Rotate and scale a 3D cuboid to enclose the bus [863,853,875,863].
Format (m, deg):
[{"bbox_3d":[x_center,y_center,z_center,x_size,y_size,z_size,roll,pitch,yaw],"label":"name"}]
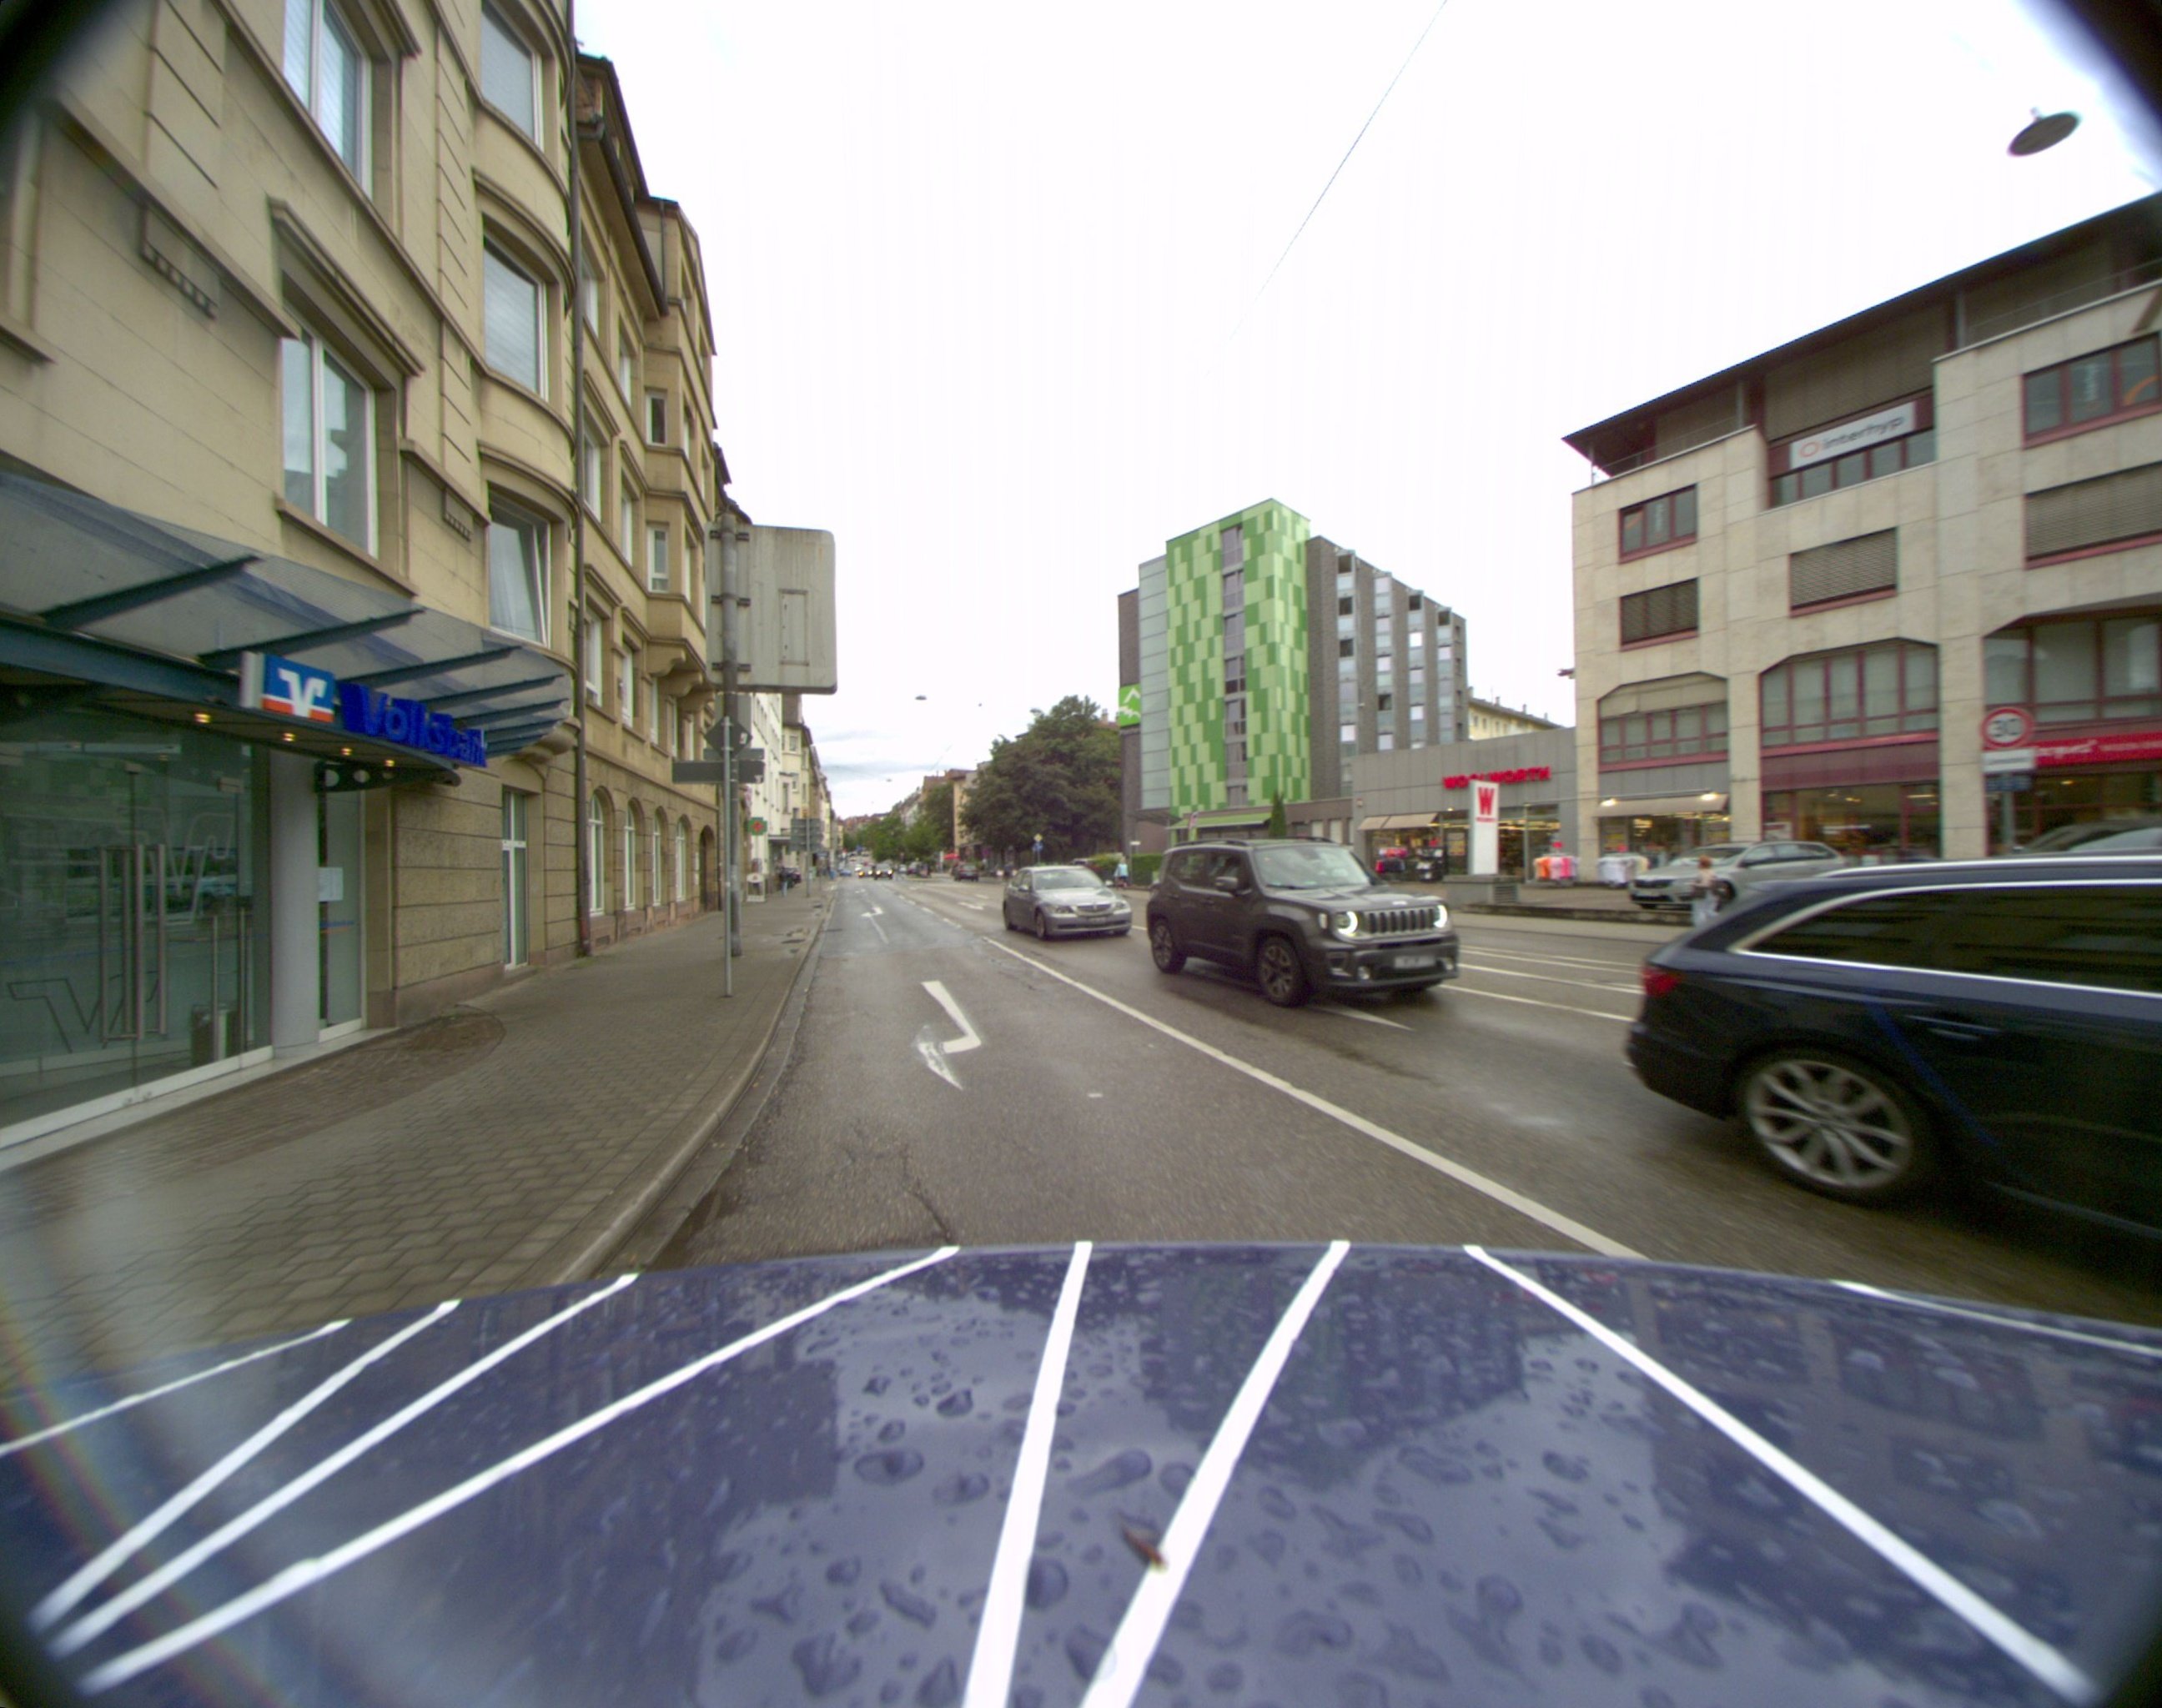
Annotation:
[{"bbox_3d":[-69.073,1.260,247.285,2.817,3.227,11.941,3,-1,-18],"label":"bus"}]

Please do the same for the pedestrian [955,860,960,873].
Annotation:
[{"bbox_3d":[-16.381,1.653,100.444,0.500,1.663,0.552,-1,1,-21],"label":"pedestrian"}]

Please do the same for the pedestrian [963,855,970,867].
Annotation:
[{"bbox_3d":[-16.592,0.996,110.467,0.712,1.668,0.801,-1,0,11],"label":"pedestrian"}]

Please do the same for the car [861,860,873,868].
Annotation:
[{"bbox_3d":[-42.937,2.051,152.272,1.963,1.547,4.237,1,-1,-19],"label":"car"}]

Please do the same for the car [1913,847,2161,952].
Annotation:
[{"bbox_3d":[16.548,0.658,12.178,4.430,1.497,1.953,-1,0,-3],"label":"car"}]

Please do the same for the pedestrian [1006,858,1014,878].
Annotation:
[{"bbox_3d":[-6.375,1.256,68.377,0.576,1.752,0.580,-1,0,-23],"label":"pedestrian"}]

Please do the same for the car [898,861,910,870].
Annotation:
[{"bbox_3d":[-31.199,1.976,133.849,1.827,1.559,4.083,1,-1,-18],"label":"car"}]

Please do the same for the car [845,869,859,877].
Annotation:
[{"bbox_3d":[-36.730,3.053,121.764,1.742,1.302,3.760,-1,-1,-22],"label":"car"}]

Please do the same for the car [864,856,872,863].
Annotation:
[{"bbox_3d":[-60.850,1.663,217.427,2.001,2.001,3.994,-1,-1,-17],"label":"car"}]

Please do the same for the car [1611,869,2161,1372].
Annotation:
[{"bbox_3d":[4.279,0.814,1.879,1.810,1.397,4.675,-2,1,-20],"label":"car"}]

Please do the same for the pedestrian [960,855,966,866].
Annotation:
[{"bbox_3d":[-17.422,0.924,112.066,0.716,1.668,0.712,-1,0,-18],"label":"pedestrian"}]

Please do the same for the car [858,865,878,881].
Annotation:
[{"bbox_3d":[-27.281,2.403,97.076,2.002,2.001,3.993,-1,-1,-22],"label":"car"}]

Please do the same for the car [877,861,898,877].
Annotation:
[{"bbox_3d":[-20.785,1.558,81.344,1.859,1.646,4.198,-1,-1,-19],"label":"car"}]

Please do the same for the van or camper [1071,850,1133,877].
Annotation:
[{"bbox_3d":[1.822,0.774,64.469,4.976,2.001,1.996,-2,-2,-35],"label":"van or camper"}]

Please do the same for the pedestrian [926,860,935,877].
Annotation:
[{"bbox_3d":[-15.340,1.473,77.297,0.658,1.748,0.719,-1,0,-36],"label":"pedestrian"}]

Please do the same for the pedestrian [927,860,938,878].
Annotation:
[{"bbox_3d":[-14.937,1.487,76.644,0.864,1.834,0.693,-1,0,-32],"label":"pedestrian"}]

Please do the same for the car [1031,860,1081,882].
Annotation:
[{"bbox_3d":[-1.975,1.353,60.854,3.595,1.560,1.737,-3,-1,-37],"label":"car"}]

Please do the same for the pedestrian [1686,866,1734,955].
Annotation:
[{"bbox_3d":[11.481,1.007,13.863,0.764,1.521,0.507,-3,2,-38],"label":"pedestrian"}]

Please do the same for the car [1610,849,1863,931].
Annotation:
[{"bbox_3d":[14.232,0.720,16.572,4.461,1.517,1.884,-2,1,-13],"label":"car"}]

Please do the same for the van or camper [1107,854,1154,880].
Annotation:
[{"bbox_3d":[5.005,1.298,76.380,2.206,2.253,4.626,-2,1,44],"label":"van or camper"}]

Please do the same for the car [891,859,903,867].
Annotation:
[{"bbox_3d":[-36.598,1.720,151.121,1.963,1.547,4.237,1,-1,-19],"label":"car"}]

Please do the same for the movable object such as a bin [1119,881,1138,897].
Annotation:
[{"bbox_3d":[2.513,1.856,40.236,0.752,0.784,0.734,0,1,28],"label":"movable object such as a bin"}]

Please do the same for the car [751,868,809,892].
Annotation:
[{"bbox_3d":[-24.293,2.088,61.284,4.157,1.761,1.869,-1,0,-28],"label":"car"}]

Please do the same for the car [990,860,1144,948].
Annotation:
[{"bbox_3d":[-0.468,0.913,15.718,1.806,1.455,4.364,-3,0,-20],"label":"car"}]

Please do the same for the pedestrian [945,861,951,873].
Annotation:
[{"bbox_3d":[-20.935,2.029,119.584,0.592,1.809,0.869,-1,1,-26],"label":"pedestrian"}]

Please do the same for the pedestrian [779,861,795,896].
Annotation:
[{"bbox_3d":[-14.886,1.236,38.487,0.675,1.710,0.900,-1,0,-18],"label":"pedestrian"}]

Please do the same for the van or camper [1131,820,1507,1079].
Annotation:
[{"bbox_3d":[2.274,0.811,8.529,1.862,2.133,4.136,-1,-1,-20],"label":"van or camper"}]

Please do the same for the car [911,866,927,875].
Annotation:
[{"bbox_3d":[-24.601,2.482,115.205,2.022,1.417,4.493,-1,-1,-17],"label":"car"}]

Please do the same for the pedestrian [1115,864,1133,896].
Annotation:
[{"bbox_3d":[2.318,1.401,40.854,0.752,1.675,0.749,0,0,28],"label":"pedestrian"}]

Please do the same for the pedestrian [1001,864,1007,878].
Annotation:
[{"bbox_3d":[-6.917,1.514,68.153,0.411,1.191,0.310,-1,0,-24],"label":"pedestrian"}]

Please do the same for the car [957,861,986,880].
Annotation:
[{"bbox_3d":[-9.993,1.479,69.147,1.956,1.649,4.050,-1,0,-18],"label":"car"}]

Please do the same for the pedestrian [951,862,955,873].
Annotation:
[{"bbox_3d":[-16.877,1.783,100.273,0.435,1.402,0.480,-1,1,-21],"label":"pedestrian"}]

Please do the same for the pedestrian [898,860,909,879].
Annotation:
[{"bbox_3d":[-17.403,1.498,74.478,0.725,1.815,0.852,-2,0,-40],"label":"pedestrian"}]
